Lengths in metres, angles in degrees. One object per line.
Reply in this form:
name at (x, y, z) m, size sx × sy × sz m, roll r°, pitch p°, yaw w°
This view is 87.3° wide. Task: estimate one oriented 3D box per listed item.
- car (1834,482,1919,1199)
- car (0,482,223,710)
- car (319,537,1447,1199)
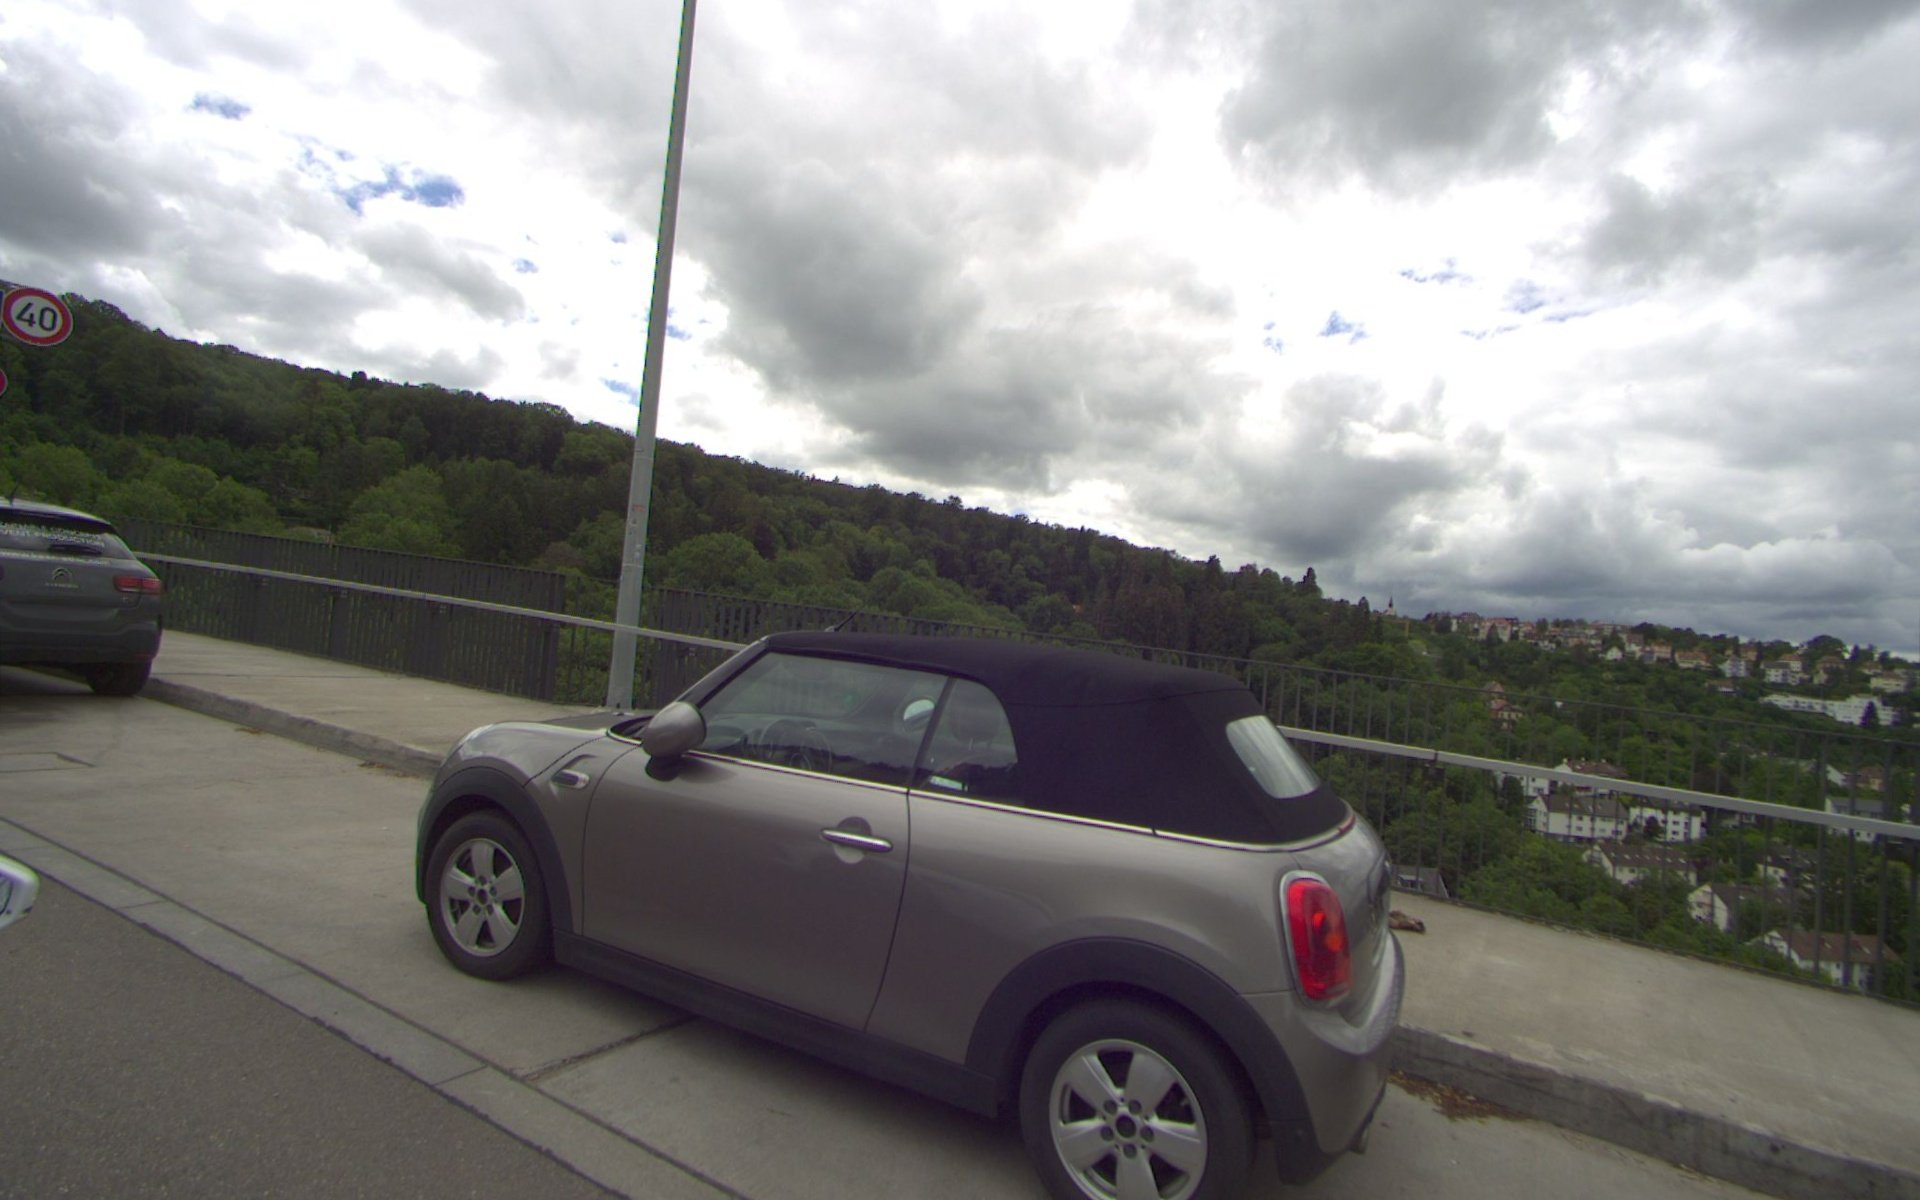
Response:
car at (4.595, 0.716, 0.622) m, size 5.680 × 2.555 × 2.166 m, roll 6°, pitch 2°, yaw 35°
car at (-8.233, -0.189, 8.124) m, size 4.017 × 1.560 × 1.881 m, roll 6°, pitch -2°, yaw 25°
car at (-0.359, 0.725, 3.787) m, size 3.783 × 1.448 × 1.718 m, roll 6°, pitch -1°, yaw 28°
